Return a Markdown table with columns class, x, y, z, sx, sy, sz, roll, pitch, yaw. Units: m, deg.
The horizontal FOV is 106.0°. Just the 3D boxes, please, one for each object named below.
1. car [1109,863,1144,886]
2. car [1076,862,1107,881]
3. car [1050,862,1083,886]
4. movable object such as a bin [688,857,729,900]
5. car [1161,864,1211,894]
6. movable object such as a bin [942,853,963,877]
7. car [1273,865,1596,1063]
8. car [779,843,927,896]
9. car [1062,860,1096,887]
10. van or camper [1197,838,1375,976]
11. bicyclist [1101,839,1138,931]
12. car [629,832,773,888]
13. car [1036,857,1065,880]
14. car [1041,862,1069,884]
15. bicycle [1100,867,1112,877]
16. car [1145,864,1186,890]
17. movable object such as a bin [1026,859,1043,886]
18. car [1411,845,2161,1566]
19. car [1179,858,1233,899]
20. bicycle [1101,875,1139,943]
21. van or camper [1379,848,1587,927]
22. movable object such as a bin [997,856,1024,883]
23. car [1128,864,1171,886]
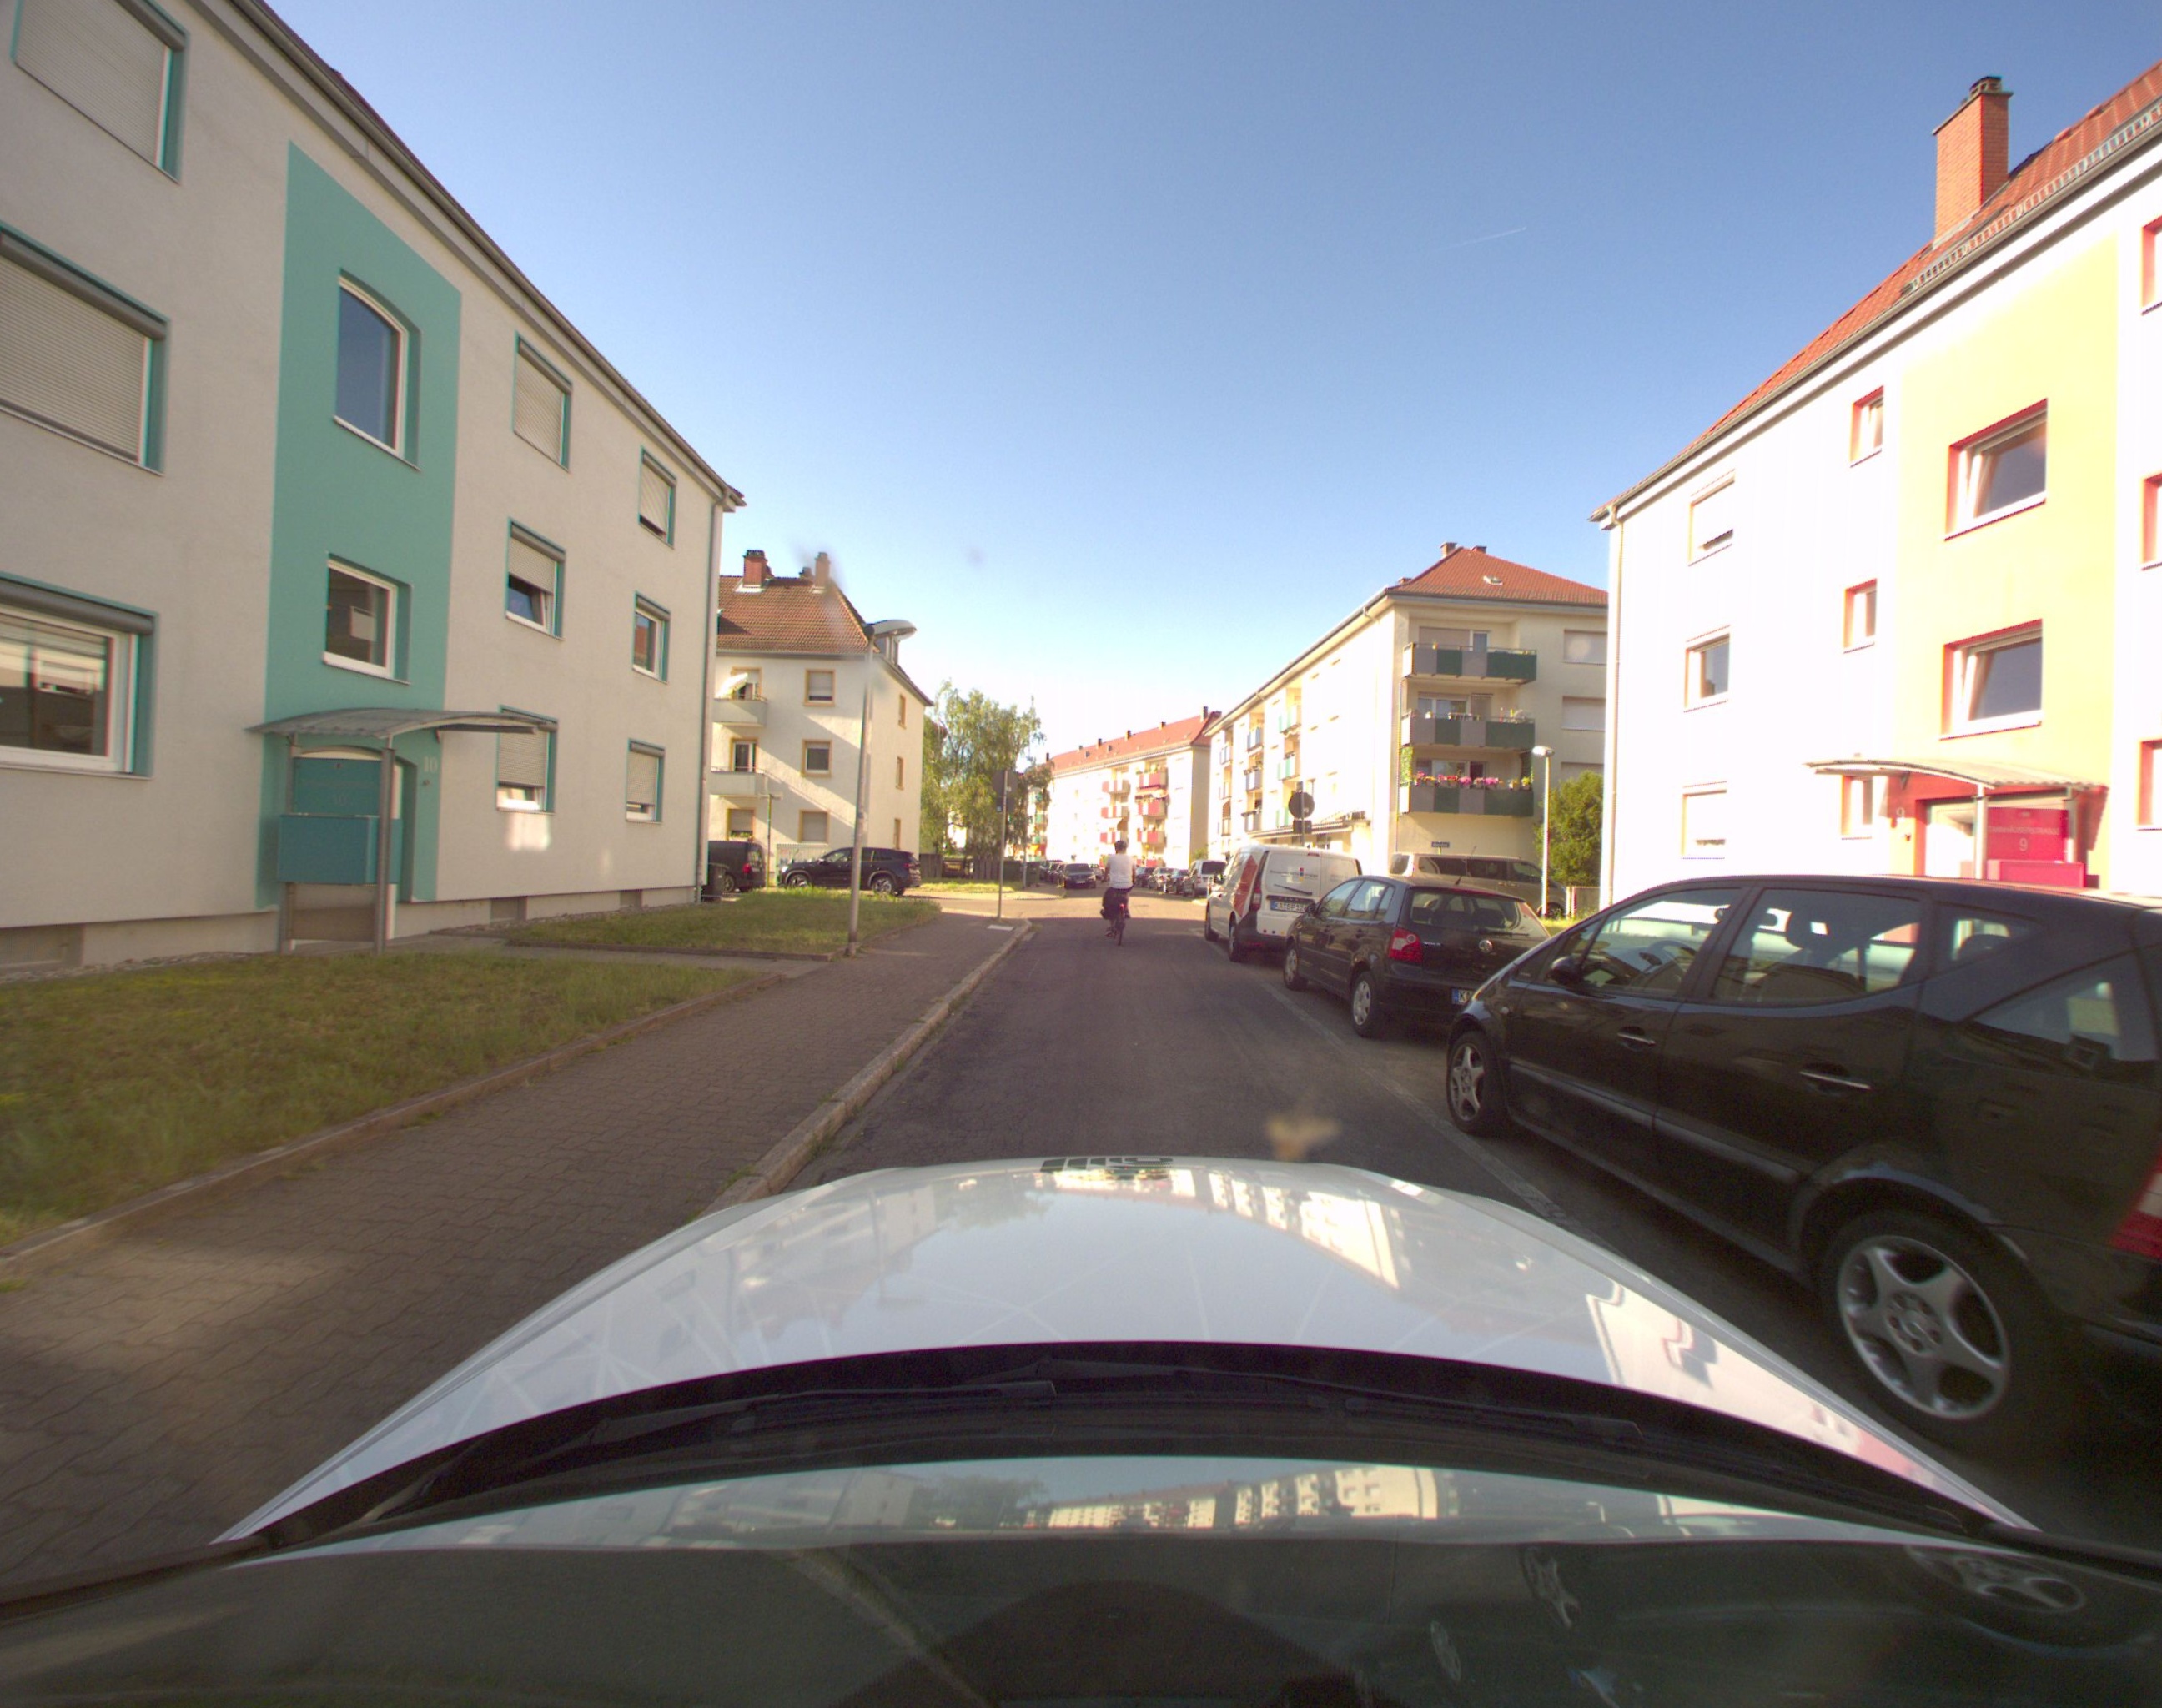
| class | x | y | z | sx | sy | sz | roll | pitch | yaw |
| --- | --- | --- | --- | --- | --- | --- | --- | --- | --- |
| car | 3.468 | 1.569 | 63.143 | 1.695 | 1.656 | 4.373 | 1 | -1 | -11 |
| car | 0.932 | 1.575 | 75.633 | 1.770 | 1.635 | 4.017 | 0 | 1 | -18 |
| car | -0.964 | 1.250 | 52.013 | 1.677 | 1.442 | 4.269 | -1 | -1 | -7 |
| movable object such as a bin | -8.902 | 0.577 | 19.502 | 0.611 | 0.992 | 0.714 | 2 | 0 | 0 |
| car | 5.655 | 1.327 | 44.382 | 1.676 | 1.407 | 4.535 | 2 | 0 | -7 |
| movable object such as a bin | -7.625 | 0.653 | 48.349 | 1.057 | 1.435 | 1.002 | 0 | -1 | -2 |
| car | 3.252 | 0.900 | 8.346 | 1.568 | 1.417 | 3.787 | 4 | 0 | 0 |
| car | -7.643 | 0.528 | 27.604 | 4.472 | 1.664 | 1.719 | 1 | -2 | 0 |
| car | -0.161 | 1.101 | 47.206 | 1.674 | 1.453 | 4.614 | -1 | -1 | -4 |
| van or camper | 3.179 | 0.750 | 13.650 | 1.786 | 1.747 | 4.736 | 5 | 0 | 2 |
| bicyclist | 0.680 | 0.552 | 14.674 | 0.594 | 1.579 | 0.907 | 1 | -1 | 1 |
| car | -12.804 | 0.222 | 27.606 | 3.977 | 1.789 | 1.719 | 1 | -2 | 0 |
| car | -2.398 | 1.089 | 63.094 | 1.556 | 1.714 | 4.321 | -1 | -1 | -11 |
| car | -1.867 | 1.297 | 57.383 | 1.554 | 1.442 | 3.957 | -1 | -1 | -7 |
| bicycle | 2.585 | 1.857 | 84.888 | 0.619 | 0.978 | 1.883 | -1 | 2 | -20 |
| car | 5.228 | 1.380 | 50.841 | 1.675 | 1.447 | 4.716 | 2 | 0 | -5 |
| movable object such as a bin | -2.428 | 0.965 | 42.773 | 0.773 | 1.393 | 1.416 | 2 | -1 | -1 |
| car | 3.077 | 0.796 | 3.569 | 1.613 | 1.550 | 3.607 | 3 | 0 | -3 |
| car | 5.913 | 1.133 | 38.872 | 1.743 | 1.824 | 4.126 | -1 | -1 | -3 |
| bicycle | 0.676 | 0.954 | 14.685 | 0.625 | 1.115 | 1.816 | 1 | 0 | 1 |
| van or camper | 11.668 | 0.936 | 23.878 | 5.109 | 2.013 | 1.999 | 2 | 1 | -2 |
| movable object such as a bin | -3.727 | 0.828 | 43.131 | 1.214 | 1.380 | 0.768 | 3 | -1 | 3 |
| car | 4.690 | 1.422 | 56.205 | 1.695 | 1.432 | 4.668 | 1 | -1 | -12 |
